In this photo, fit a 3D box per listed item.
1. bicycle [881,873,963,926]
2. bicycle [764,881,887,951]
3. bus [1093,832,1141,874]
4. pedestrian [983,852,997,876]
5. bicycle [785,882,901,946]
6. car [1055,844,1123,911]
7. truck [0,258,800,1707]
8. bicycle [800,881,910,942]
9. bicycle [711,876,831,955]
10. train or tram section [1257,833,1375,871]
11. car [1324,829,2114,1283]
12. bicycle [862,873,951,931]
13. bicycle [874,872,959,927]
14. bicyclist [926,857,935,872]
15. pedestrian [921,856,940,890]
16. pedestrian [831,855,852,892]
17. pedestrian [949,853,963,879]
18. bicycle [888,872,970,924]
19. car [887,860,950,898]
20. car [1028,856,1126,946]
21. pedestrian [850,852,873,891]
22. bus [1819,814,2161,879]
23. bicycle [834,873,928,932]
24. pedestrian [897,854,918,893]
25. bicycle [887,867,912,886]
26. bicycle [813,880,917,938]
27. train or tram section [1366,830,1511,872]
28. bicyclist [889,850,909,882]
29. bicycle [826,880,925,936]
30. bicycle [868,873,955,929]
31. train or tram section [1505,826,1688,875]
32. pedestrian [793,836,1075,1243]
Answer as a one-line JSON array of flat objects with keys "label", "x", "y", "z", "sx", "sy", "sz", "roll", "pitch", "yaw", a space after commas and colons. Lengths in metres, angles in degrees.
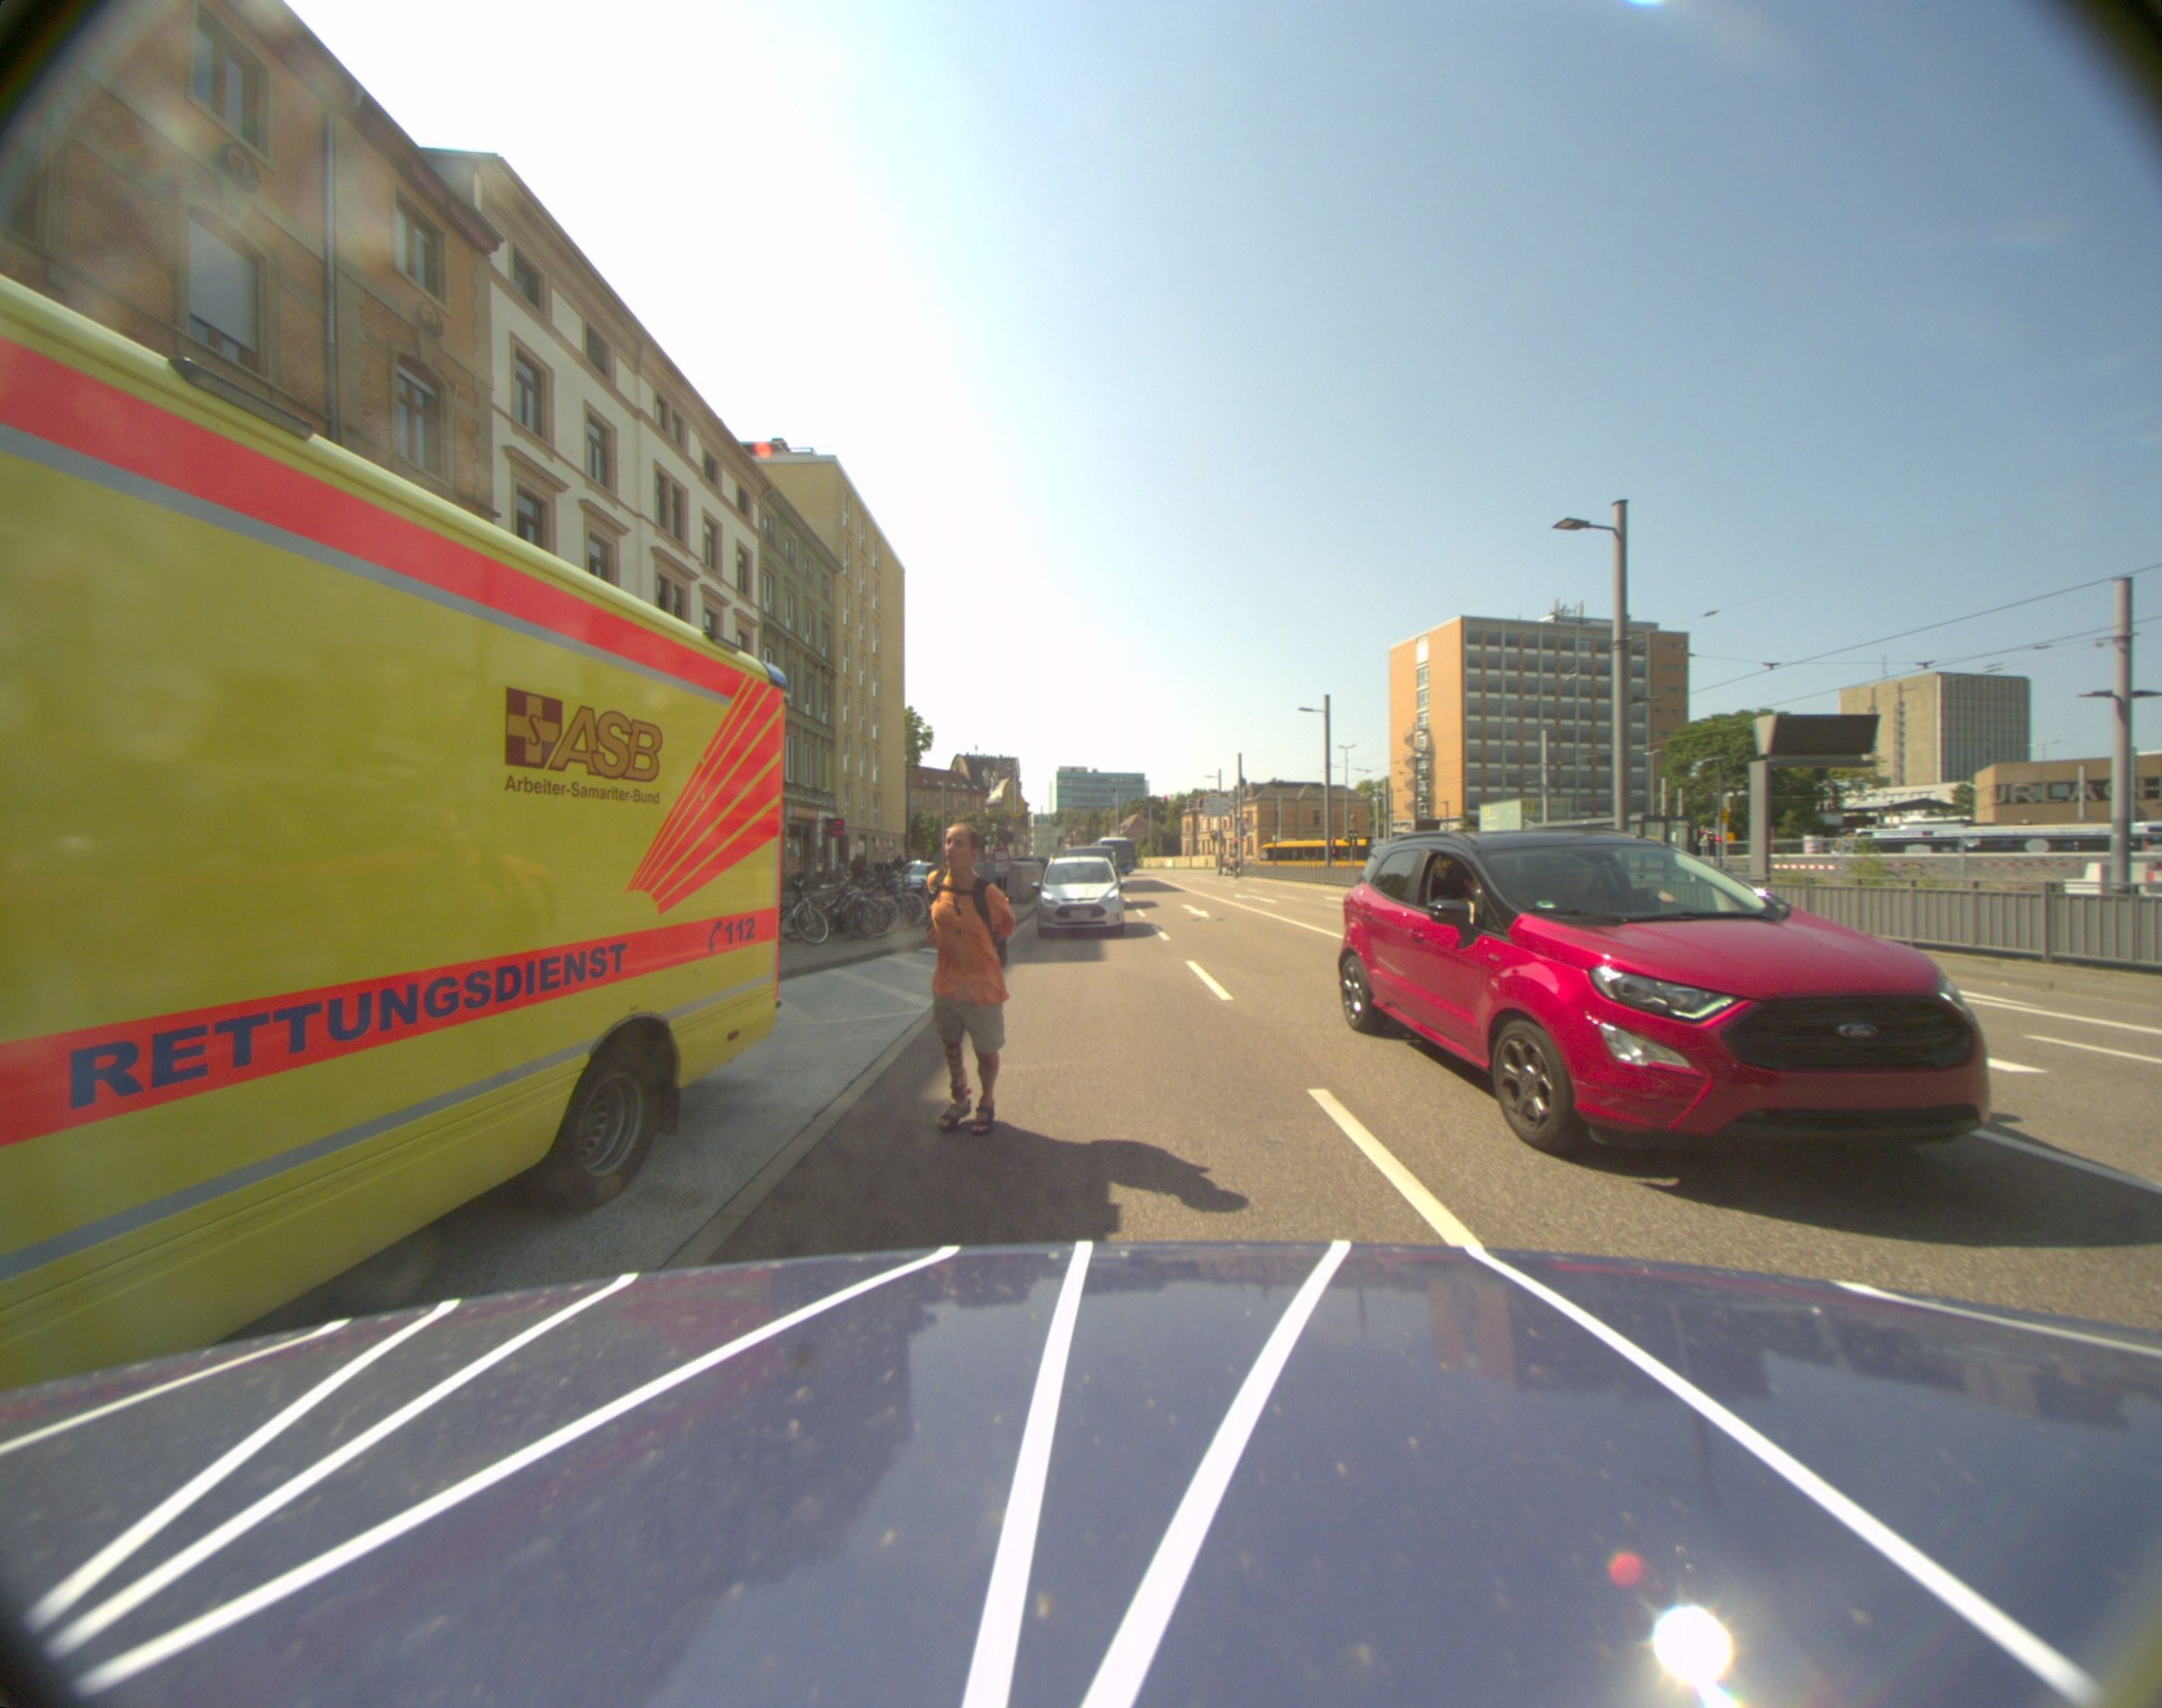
[{"label": "bicycle", "x": -3.795, "y": 1.075, "z": 18.169, "sx": 1.842, "sy": 1.196, "sz": 0.434, "roll": -2, "pitch": 1, "yaw": 1}, {"label": "bicycle", "x": -4.283, "y": 1.031, "z": 12.841, "sx": 1.807, "sy": 1.069, "sz": 0.699, "roll": -2, "pitch": 0, "yaw": 0}, {"label": "bus", "x": 2.924, "y": -0.090, "z": 65.314, "sx": 2.920, "sy": 3.119, "sz": 12.341, "roll": -2, "pitch": 0, "yaw": -2}, {"label": "pedestrian", "x": -6.214, "y": 0.701, "z": 51.994, "sx": 0.644, "sy": 1.619, "sz": 0.798, "roll": 1, "pitch": 0, "yaw": 16}, {"label": "bicycle", "x": -4.274, "y": 1.066, "z": 13.715, "sx": 1.842, "sy": 1.054, "sz": 0.657, "roll": -2, "pitch": 0, "yaw": 1}, {"label": "car", "x": 0.278, "y": 0.694, "z": 25.293, "sx": 1.998, "sy": 1.953, "sz": 4.815, "roll": -1, "pitch": 0, "yaw": 1}, {"label": "truck", "x": -3.159, "y": 0.255, "z": 1.725, "sx": 2.333, "sy": 2.754, "sz": 6.339, "roll": 2, "pitch": 0, "yaw": 3}, {"label": "bicycle", "x": -4.266, "y": 1.078, "z": 14.413, "sx": 1.842, "sy": 1.047, "sz": 0.657, "roll": -2, "pitch": 0, "yaw": 1}, {"label": "bicycle", "x": -4.974, "y": 0.977, "z": 12.247, "sx": 1.607, "sy": 1.178, "sz": 0.690, "roll": -2, "pitch": 0, "yaw": 1}, {"label": "train or tram section", "x": 24.457, "y": -0.180, "z": 79.955, "sx": 12.331, "sy": 3.743, "sz": 2.004, "roll": 0, "pitch": 0, "yaw": 44}, {"label": "car", "x": 2.942, "y": 0.732, "z": 4.735, "sx": 1.634, "sy": 1.611, "sz": 3.968, "roll": -2, "pitch": 0, "yaw": 1}, {"label": "bicycle", "x": -3.848, "y": 1.049, "z": 16.793, "sx": 1.842, "sy": 1.196, "sz": 0.434, "roll": -2, "pitch": 1, "yaw": 1}, {"label": "bicycle", "x": -3.818, "y": 1.057, "z": 17.691, "sx": 1.842, "sy": 1.212, "sz": 0.434, "roll": -2, "pitch": 1, "yaw": 1}, {"label": "bicyclist", "x": -19.564, "y": 1.333, "z": 99.030, "sx": 0.857, "sy": 1.891, "sz": 0.665, "roll": -2, "pitch": 1, "yaw": 35}, {"label": "pedestrian", "x": -7.289, "y": 0.892, "z": 36.817, "sx": 0.645, "sy": 1.619, "sz": 0.797, "roll": 1, "pitch": 0, "yaw": 10}, {"label": "pedestrian", "x": -10.744, "y": 0.859, "z": 34.117, "sx": 0.645, "sy": 1.619, "sz": 0.796, "roll": 1, "pitch": 0, "yaw": 1}, {"label": "pedestrian", "x": -7.781, "y": 0.749, "z": 47.254, "sx": 0.645, "sy": 1.619, "sz": 0.797, "roll": 1, "pitch": 0, "yaw": 5}, {"label": "bicycle", "x": -3.739, "y": 1.082, "z": 18.769, "sx": 1.841, "sy": 1.196, "sz": 0.637, "roll": -2, "pitch": 0, "yaw": 1}, {"label": "car", "x": -6.711, "y": 1.001, "z": 31.838, "sx": 1.666, "sy": 1.418, "sz": 3.934, "roll": 2, "pitch": 0, "yaw": 1}, {"label": "car", "x": -0.047, "y": 0.870, "z": 15.992, "sx": 1.728, "sy": 1.579, "sz": 4.000, "roll": -3, "pitch": 0, "yaw": 1}, {"label": "pedestrian", "x": -9.887, "y": 0.762, "z": 34.217, "sx": 0.771, "sy": 1.724, "sz": 0.882, "roll": 1, "pitch": 0, "yaw": 1}, {"label": "bus", "x": 51.701, "y": -0.280, "z": 43.558, "sx": 13.371, "sy": 3.275, "sz": 3.357, "roll": -2, "pitch": 0, "yaw": 45}, {"label": "bicycle", "x": -4.297, "y": 1.042, "z": 16.389, "sx": 1.842, "sy": 1.196, "sz": 0.549, "roll": -2, "pitch": 1, "yaw": 1}, {"label": "pedestrian", "x": -7.911, "y": 0.898, "z": 34.721, "sx": 0.688, "sy": 1.748, "sz": 0.797, "roll": 1, "pitch": 0, "yaw": 6}, {"label": "bicycle", "x": -9.167, "y": 1.129, "z": 38.379, "sx": 0.721, "sy": 0.948, "sz": 2.001, "roll": -1, "pitch": 0, "yaw": 1}, {"label": "bicycle", "x": -4.262, "y": 1.085, "z": 15.080, "sx": 1.842, "sy": 1.054, "sz": 0.657, "roll": -2, "pitch": 0, "yaw": 1}, {"label": "train or tram section", "x": 33.255, "y": -0.248, "z": 71.337, "sx": 12.331, "sy": 3.743, "sz": 2.004, "roll": 0, "pitch": 0, "yaw": 44}, {"label": "bicyclist", "x": -9.177, "y": 0.614, "z": 38.367, "sx": 0.721, "sy": 1.577, "sz": 1.103, "roll": -1, "pitch": 0, "yaw": 1}, {"label": "bicycle", "x": -4.238, "y": 1.110, "z": 15.771, "sx": 1.842, "sy": 1.050, "sz": 0.657, "roll": -2, "pitch": 0, "yaw": 1}, {"label": "bicycle", "x": -3.826, "y": 1.059, "z": 17.229, "sx": 1.842, "sy": 1.196, "sz": 0.434, "roll": -2, "pitch": 1, "yaw": 1}, {"label": "train or tram section", "x": 42.073, "y": -0.269, "z": 62.696, "sx": 12.331, "sy": 3.743, "sz": 2.004, "roll": 0, "pitch": 0, "yaw": 44}, {"label": "pedestrian", "x": -0.673, "y": 0.800, "z": 3.949, "sx": 0.965, "sy": 1.730, "sz": 1.241, "roll": -1, "pitch": 0, "yaw": 14}]
